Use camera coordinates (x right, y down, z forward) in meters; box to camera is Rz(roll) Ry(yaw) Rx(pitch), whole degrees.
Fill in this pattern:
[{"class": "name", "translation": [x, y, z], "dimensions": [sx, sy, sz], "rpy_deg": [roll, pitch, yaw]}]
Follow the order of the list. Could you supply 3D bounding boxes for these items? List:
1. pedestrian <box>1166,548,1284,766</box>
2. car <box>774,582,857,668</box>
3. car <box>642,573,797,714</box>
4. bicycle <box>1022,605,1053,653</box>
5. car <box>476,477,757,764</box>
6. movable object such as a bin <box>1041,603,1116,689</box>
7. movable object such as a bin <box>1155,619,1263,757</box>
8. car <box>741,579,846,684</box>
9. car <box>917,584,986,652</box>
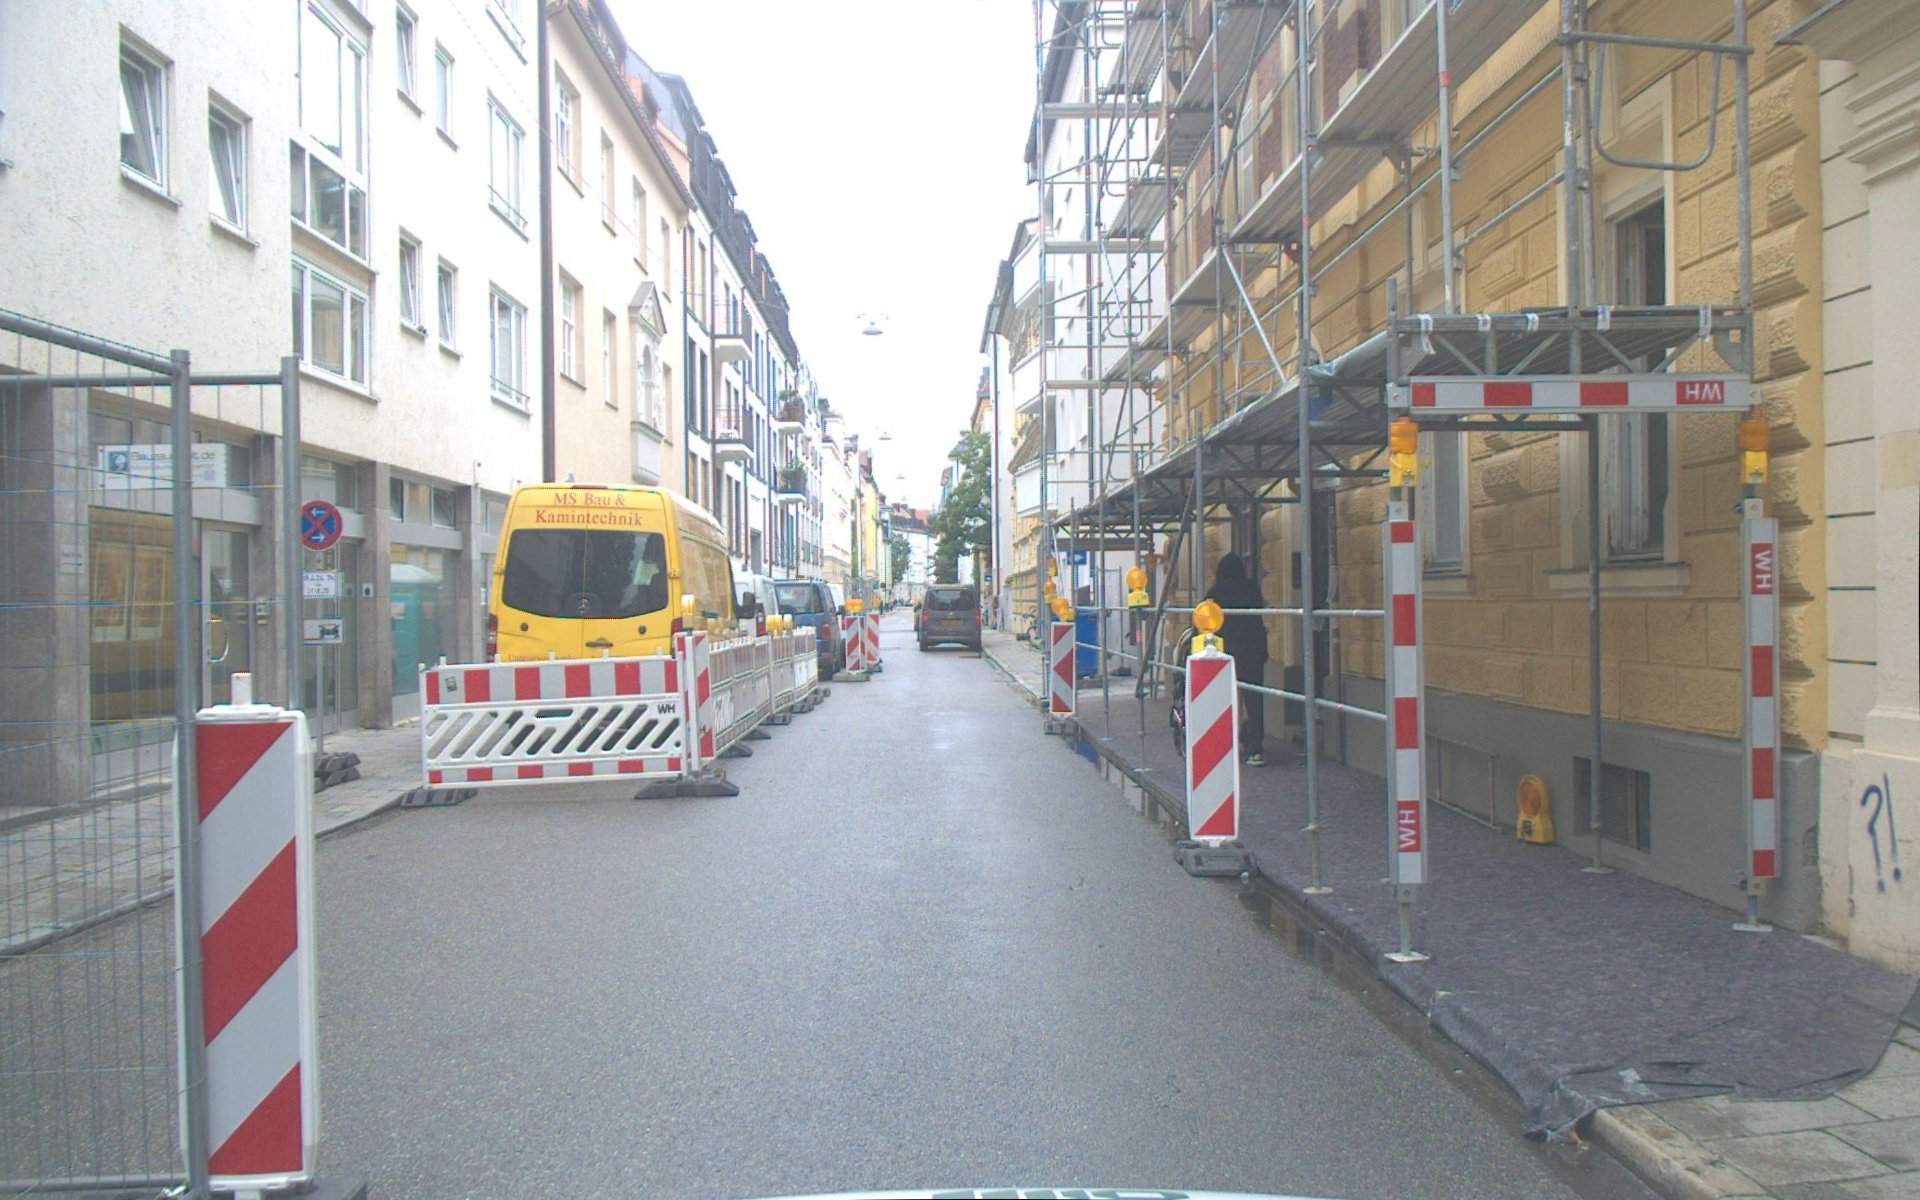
[{"class": "pedestrian", "translation": [2.299, 0.484, 14.435], "dimensions": [0.715, 1.783, 0.988], "rpy_deg": [-4, 0, -2]}, {"class": "car", "translation": [-3.511, 0.589, 40.371], "dimensions": [1.867, 1.930, 5.084], "rpy_deg": [-1, 0, -5]}, {"class": "car", "translation": [-3.692, 0.634, 26.143], "dimensions": [1.879, 1.930, 4.788], "rpy_deg": [-2, 0, -3]}, {"class": "bicycle", "translation": [2.059, 0.753, 44.091], "dimensions": [0.625, 1.173, 1.915], "rpy_deg": [-3, 1, -1]}, {"class": "car", "translation": [-3.607, 0.190, 18.775], "dimensions": [1.953, 2.624, 6.734], "rpy_deg": [-1, 0, -2]}, {"class": "movable object such as a bin", "translation": [2.062, 0.788, 28.575], "dimensions": [1.063, 1.369, 1.318], "rpy_deg": [-4, 0, 11]}, {"class": "movable object such as a bin", "translation": [2.275, 0.785, 15.194], "dimensions": [0.715, 1.160, 0.988], "rpy_deg": [-5, 0, -3]}, {"class": "car", "translation": [-3.379, 0.609, 34.391], "dimensions": [1.692, 1.930, 5.507], "rpy_deg": [-2, 0, -2]}, {"class": "car", "translation": [-0.314, 0.532, 50.813], "dimensions": [1.953, 1.966, 4.658], "rpy_deg": [1, 0, -2]}]
